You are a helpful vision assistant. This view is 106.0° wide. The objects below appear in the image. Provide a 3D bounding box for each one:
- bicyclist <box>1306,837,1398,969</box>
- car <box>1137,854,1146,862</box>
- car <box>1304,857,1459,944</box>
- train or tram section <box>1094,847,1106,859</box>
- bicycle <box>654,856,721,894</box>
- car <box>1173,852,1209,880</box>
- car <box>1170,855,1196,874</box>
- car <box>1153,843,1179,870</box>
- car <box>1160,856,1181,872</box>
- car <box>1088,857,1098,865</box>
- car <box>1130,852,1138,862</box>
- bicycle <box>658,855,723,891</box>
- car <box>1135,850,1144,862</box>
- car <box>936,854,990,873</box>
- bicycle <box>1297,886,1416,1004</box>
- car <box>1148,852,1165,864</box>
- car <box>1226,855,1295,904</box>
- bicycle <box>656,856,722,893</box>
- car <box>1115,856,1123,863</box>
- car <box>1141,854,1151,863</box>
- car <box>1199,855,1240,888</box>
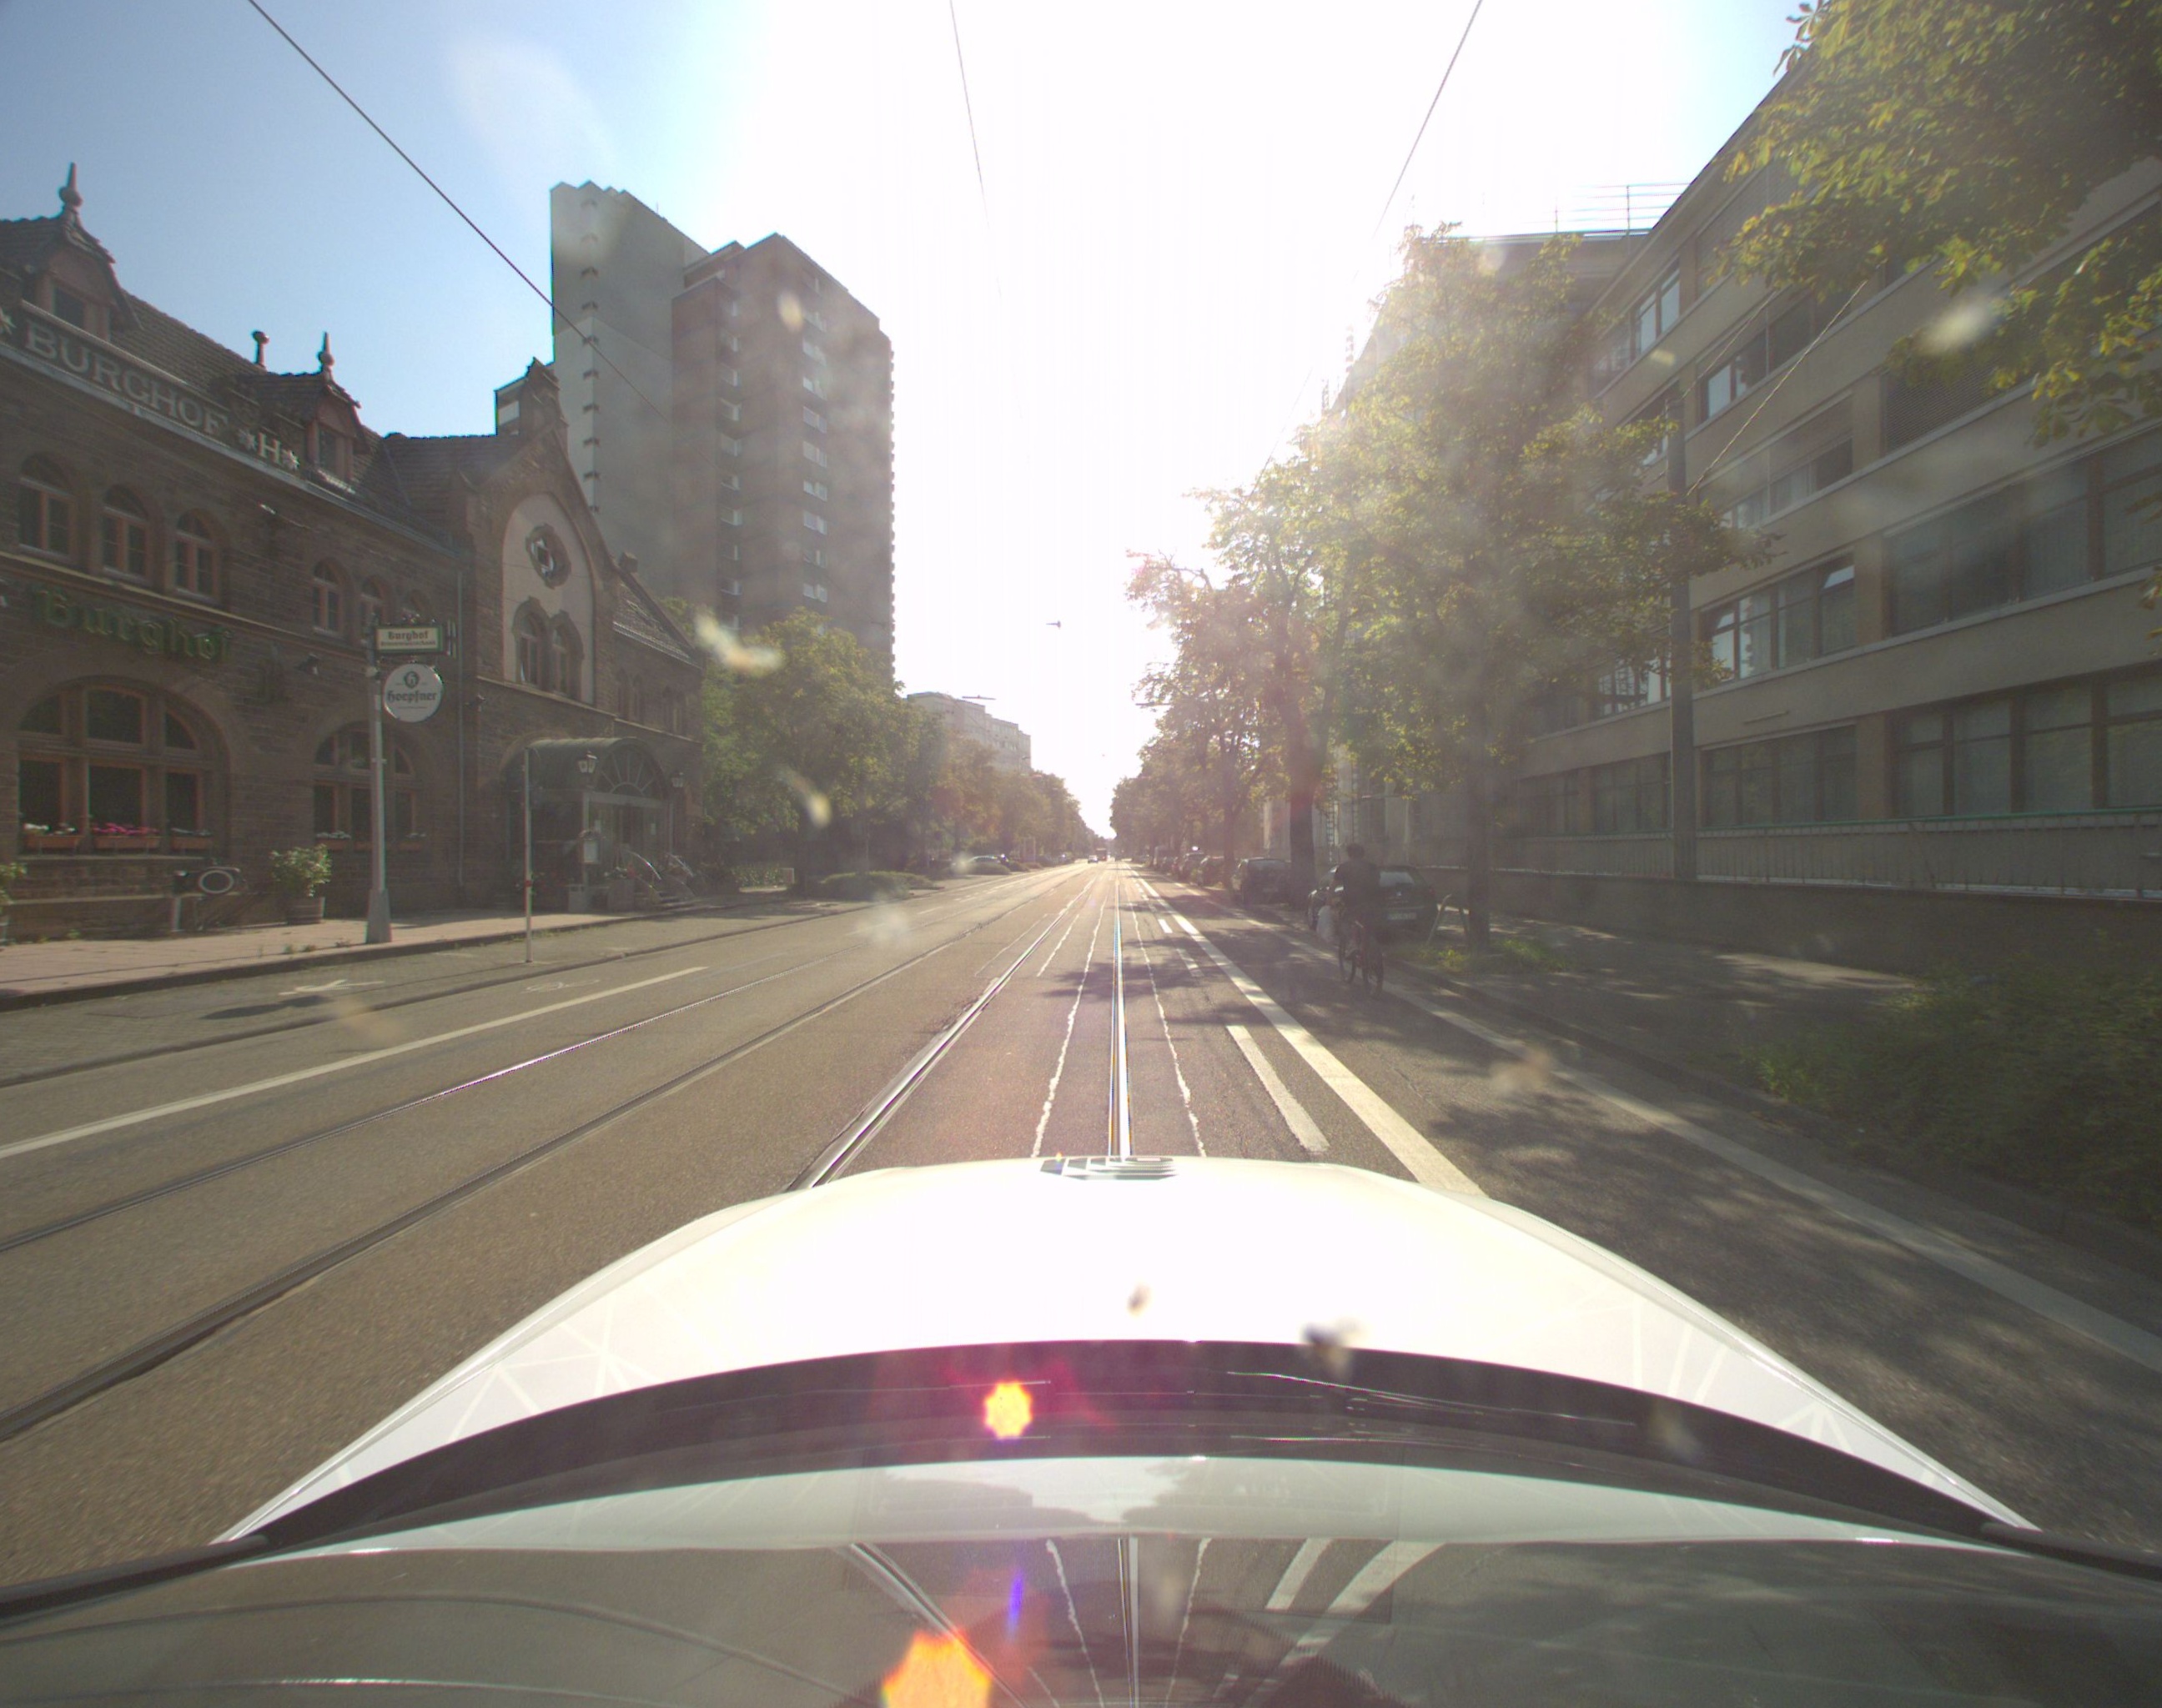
[{"bbox_3d":[3.182,0.548,9.660,0.783,1.470,1.117,0,0,4],"label":"bicyclist"},{"bbox_3d":[11.017,0.691,148.419,1.588,1.418,3.637,0,0,3],"label":"car"},{"bbox_3d":[5.785,0.821,16.224,1.640,1.428,4.086,-2,0,2],"label":"car"},{"bbox_3d":[4.863,-0.159,204.797,2.718,2.894,15.464,-1,0,3],"label":"train or tram section"},{"bbox_3d":[-12.478,0.672,25.872,1.808,1.074,0.418,4,-2,-20],"label":"bicycle"},{"bbox_3d":[6.844,0.715,51.048,1.747,1.691,4.397,0,0,1],"label":"car"},{"bbox_3d":[7.711,0.772,61.715,1.610,1.413,4.003,-1,0,3],"label":"car"},{"bbox_3d":[8.547,0.248,82.257,2.075,2.552,5.503,-4,0,1],"label":"car"},{"bbox_3d":[7.865,0.847,71.976,1.610,1.374,4.831,-1,0,3],"label":"car"},{"bbox_3d":[2.174,1.204,147.869,1.821,1.376,4.514,0,0,2],"label":"car"},{"bbox_3d":[13.179,0.654,203.245,1.996,2.475,4.481,-1,0,3],"label":"car"},{"bbox_3d":[-12.801,0.633,26.745,1.808,1.074,0.418,4,-2,-20],"label":"bicycle"},{"bbox_3d":[12.670,0.398,176.602,1.996,2.490,4.480,-1,-1,3],"label":"car"},{"bbox_3d":[-9.583,0.744,66.016,4.009,1.479,1.773,-1,0,-27],"label":"car"},{"bbox_3d":[3.181,0.997,9.666,0.783,1.144,2.307,0,0,4],"label":"bicycle"},{"bbox_3d":[9.341,0.476,101.101,1.746,1.377,4.722,-2,0,3],"label":"car"},{"bbox_3d":[6.086,0.820,27.956,1.639,1.511,3.781,-2,0,3],"label":"car"},{"bbox_3d":[-12.652,0.674,26.306,1.808,1.074,0.418,4,-2,-20],"label":"bicycle"},{"bbox_3d":[9.550,1.369,205.950,1.985,1.838,4.004,0,0,4],"label":"car"},{"bbox_3d":[10.777,0.753,134.849,1.682,1.418,3.637,0,0,3],"label":"car"},{"bbox_3d":[6.871,0.845,40.725,1.569,1.484,3.741,-2,0,3],"label":"car"}]
